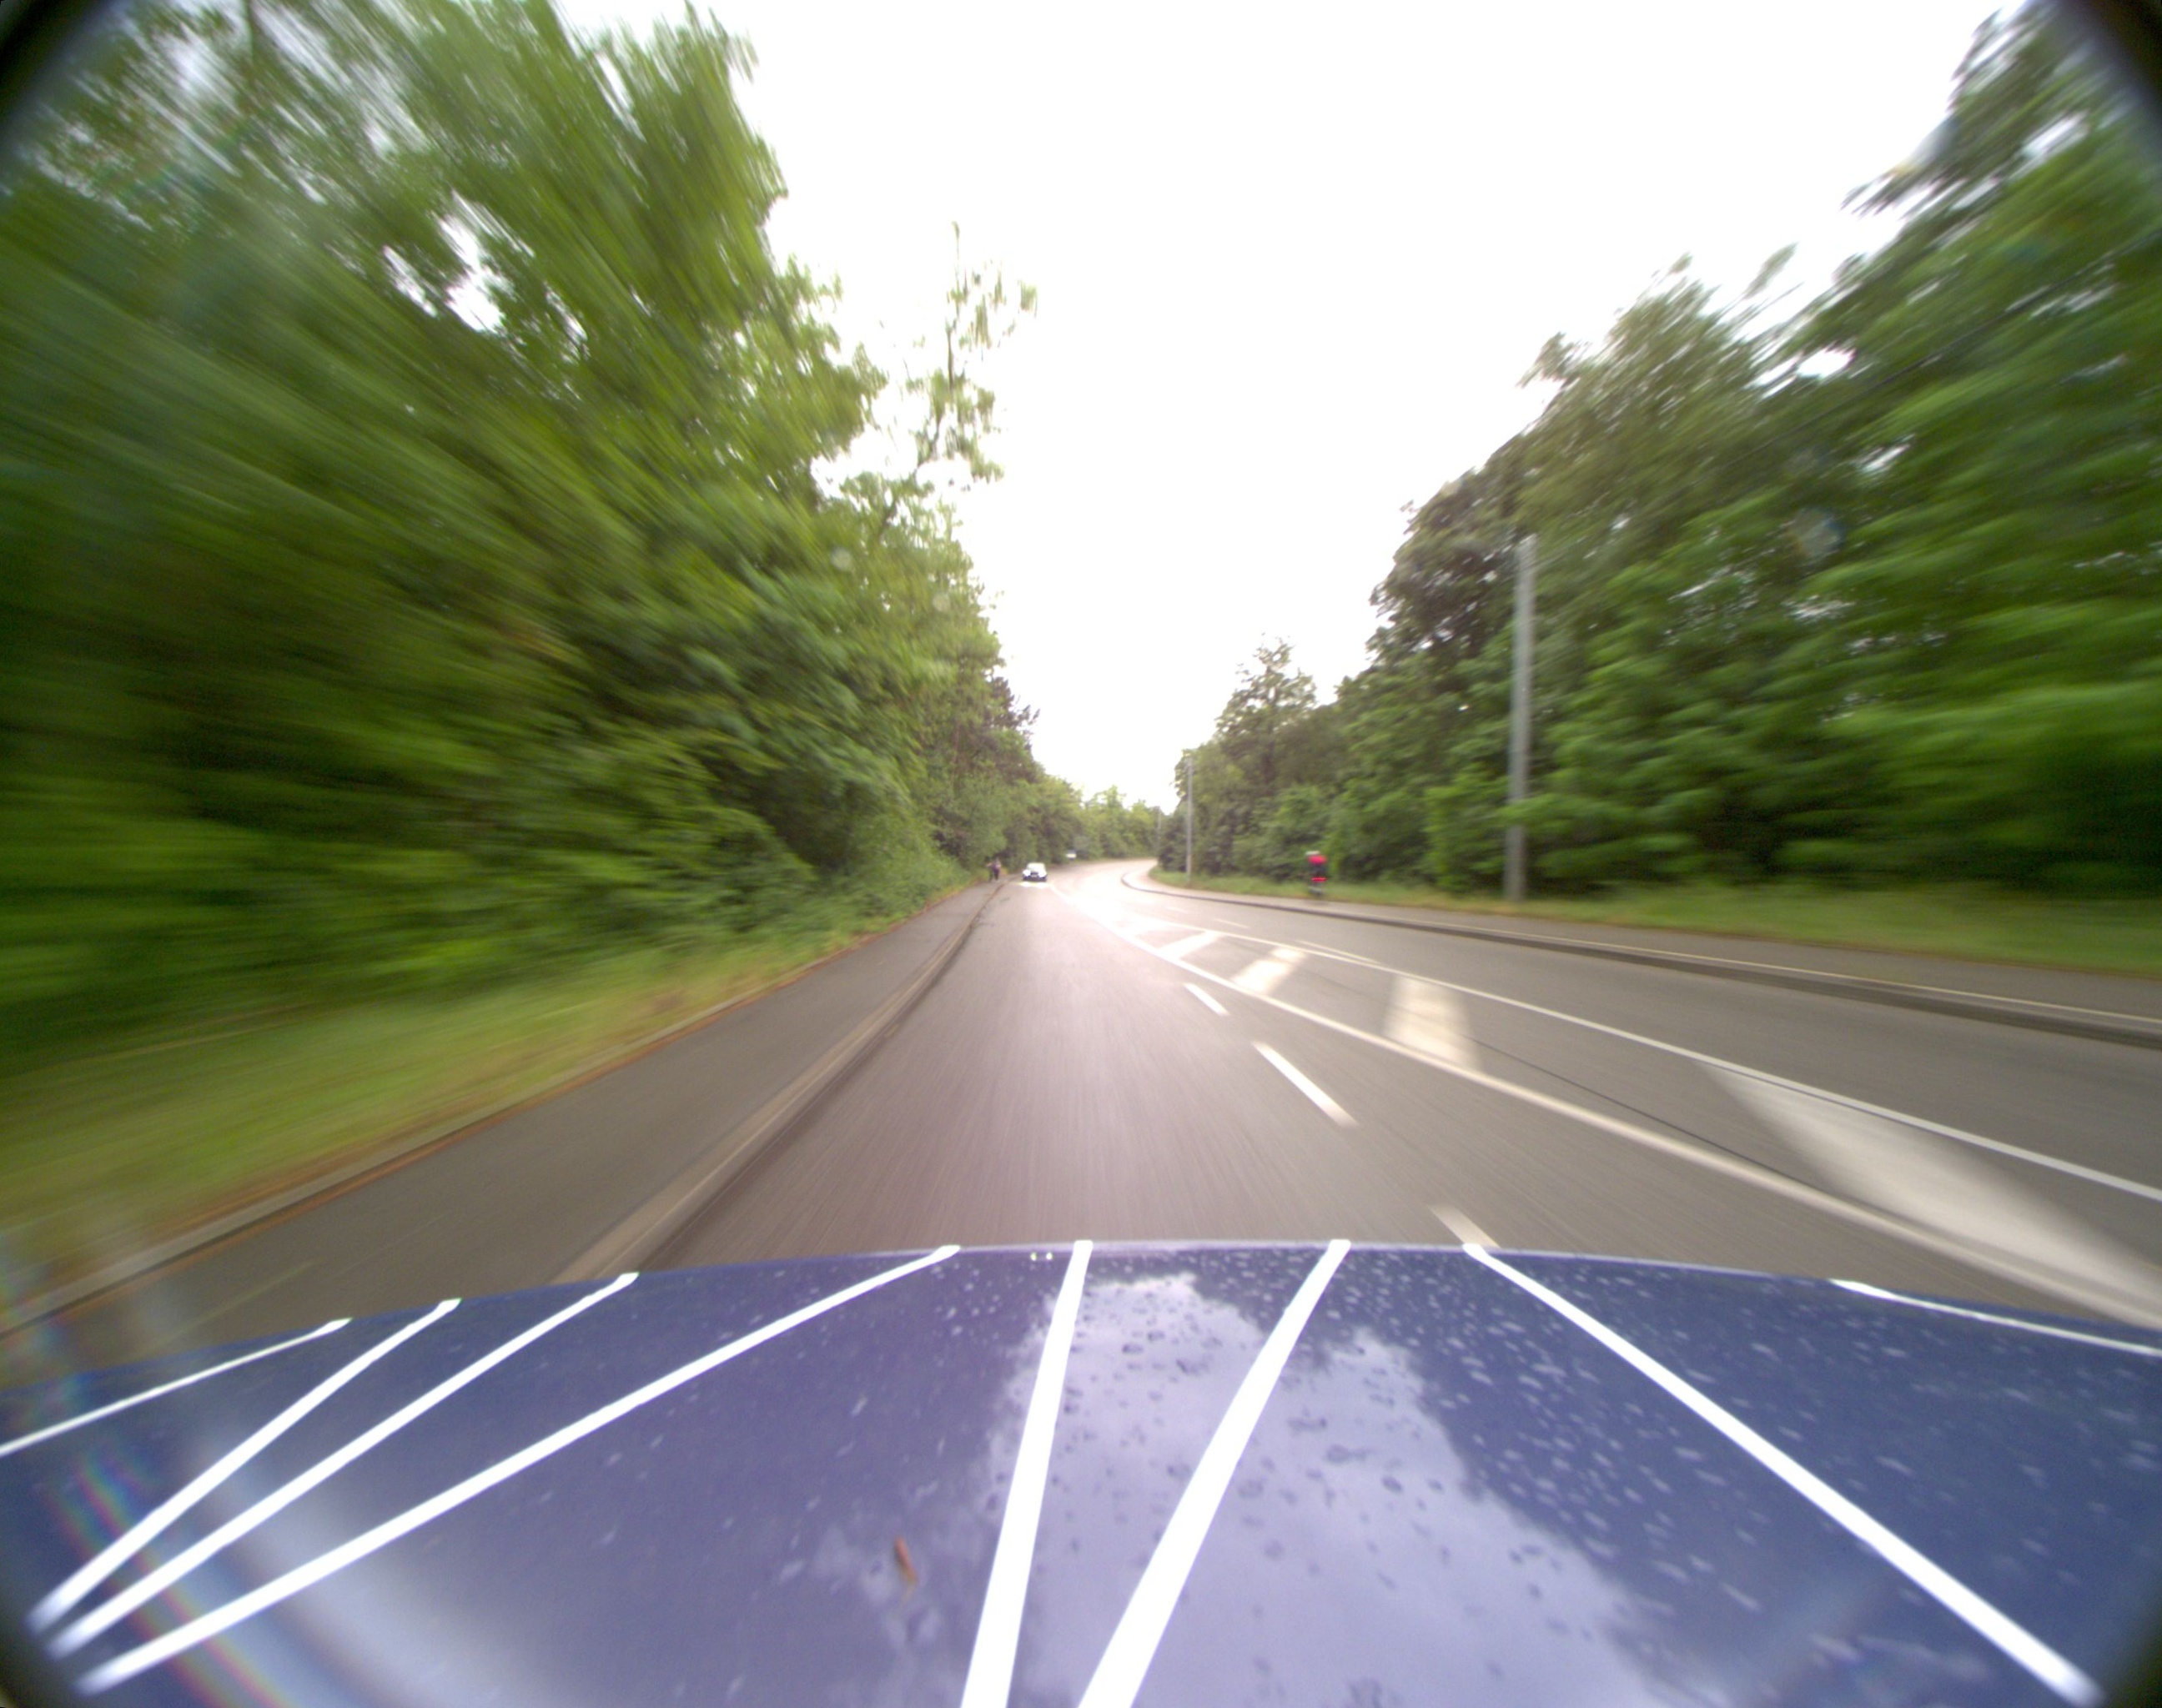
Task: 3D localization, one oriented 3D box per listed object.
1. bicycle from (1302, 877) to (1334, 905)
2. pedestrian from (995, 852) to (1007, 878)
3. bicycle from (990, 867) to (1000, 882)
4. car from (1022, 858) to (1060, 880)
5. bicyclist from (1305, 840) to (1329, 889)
[{"bbox_3d":[7.791,1.213,25.072,0.356,0.844,2.093,-1,-1,-1],"label":"bicycle"},{"bbox_3d":[-5.073,0.667,48.170,0.565,1.568,0.769,3,3,-1],"label":"pedestrian"},{"bbox_3d":[-5.424,1.290,48.018,0.356,0.844,1.742,5,2,-1],"label":"bicycle"},{"bbox_3d":[-3.142,1.197,60.586,1.829,1.512,4.005,7,1,14],"label":"car"},{"bbox_3d":[7.775,0.344,25.082,0.337,1.565,1.298,-1,0,-1],"label":"bicyclist"}]
